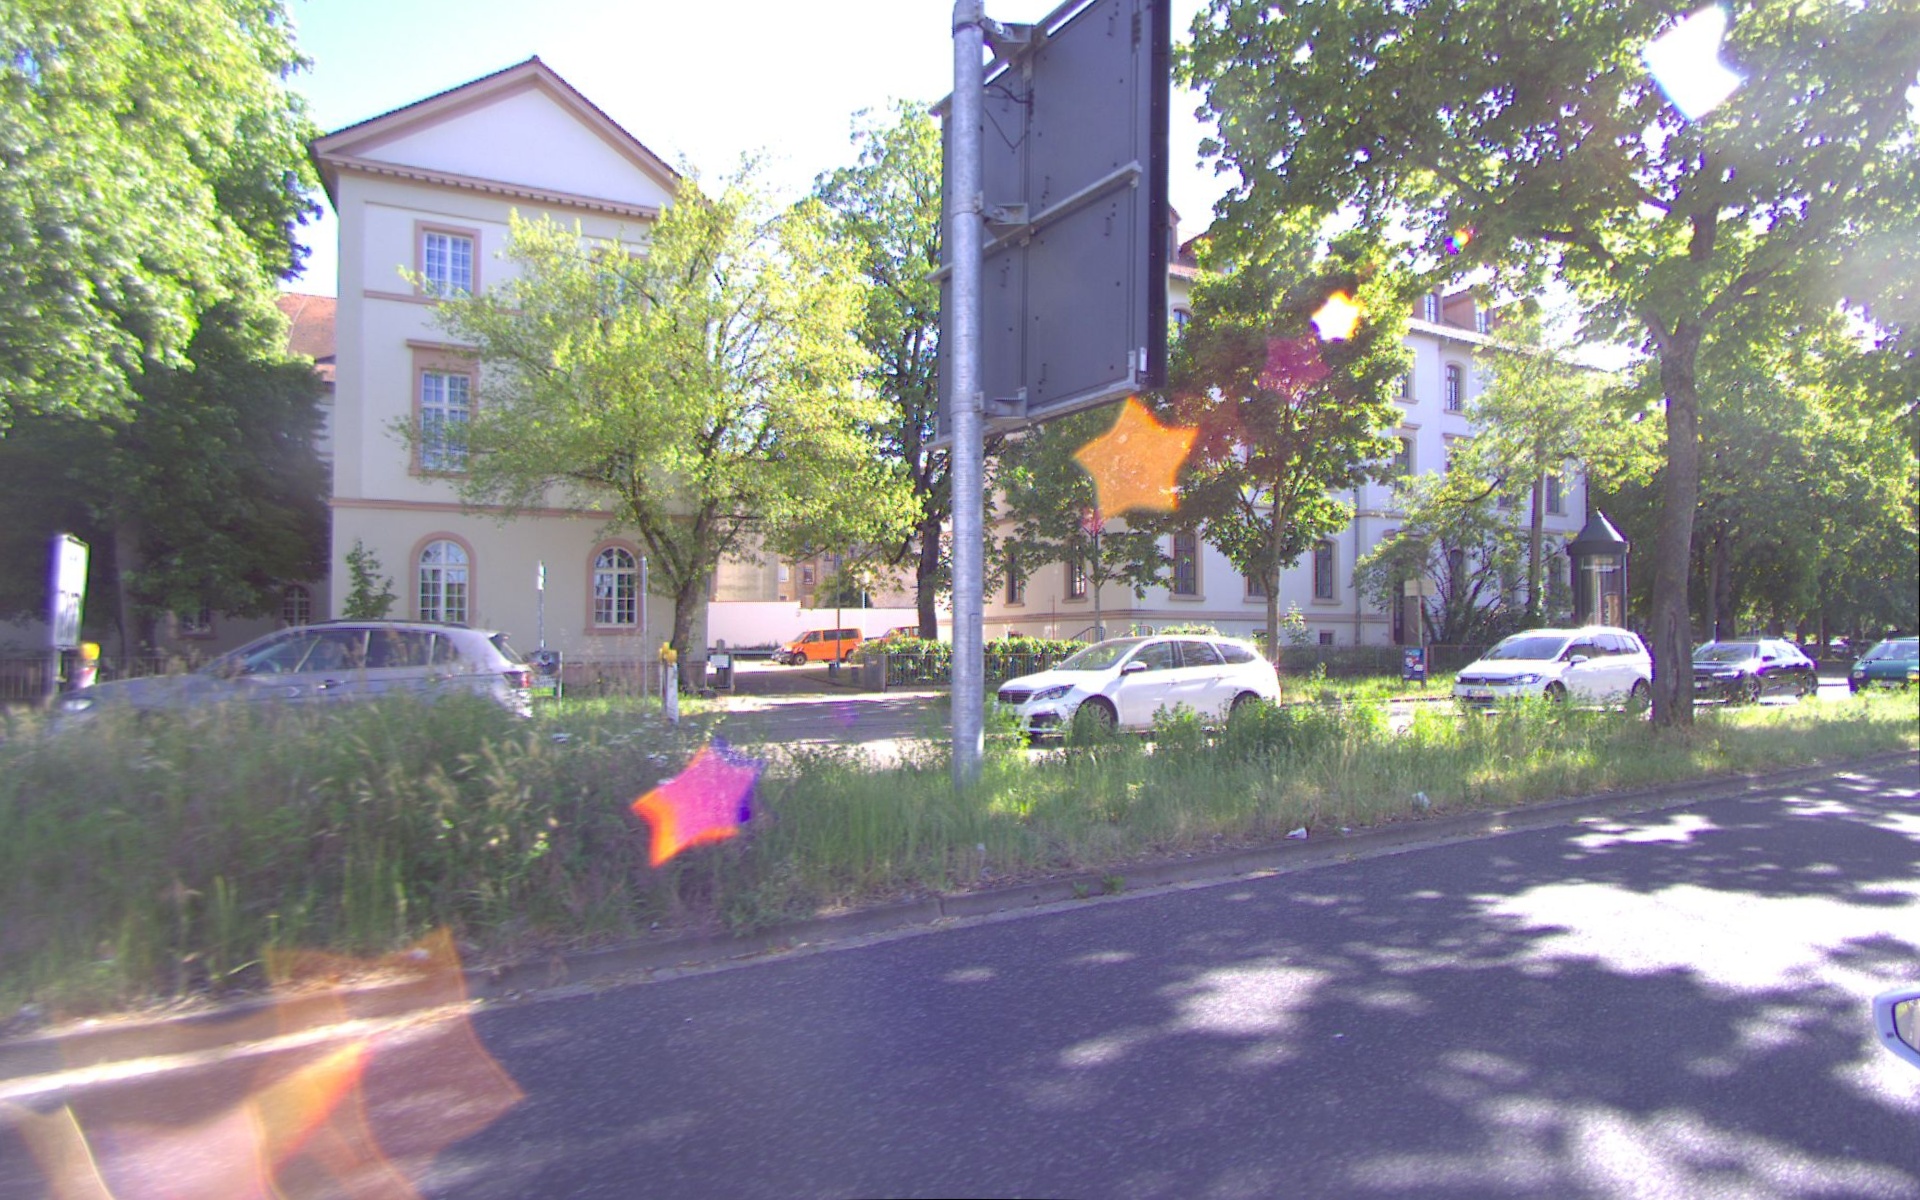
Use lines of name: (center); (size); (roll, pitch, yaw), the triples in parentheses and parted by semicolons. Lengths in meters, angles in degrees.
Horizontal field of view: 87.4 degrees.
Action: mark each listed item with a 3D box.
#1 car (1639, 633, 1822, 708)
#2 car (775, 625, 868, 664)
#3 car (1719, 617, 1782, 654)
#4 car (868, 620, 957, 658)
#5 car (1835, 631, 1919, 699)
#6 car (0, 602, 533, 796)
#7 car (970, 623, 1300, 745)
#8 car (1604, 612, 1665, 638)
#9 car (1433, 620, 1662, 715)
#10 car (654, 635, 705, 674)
car: (17.229, 1.578, 22.442); (4.038, 1.538, 1.788); (2, -4, -29)
car: (-7.748, 2.469, 56.133); (4.726, 1.982, 1.988); (-1, -1, -25)
car: (57.684, 2.613, 73.300); (4.926, 2.354, 1.838); (5, -3, -29)
car: (-2.748, 2.267, 58.371); (4.726, 1.982, 1.988); (-1, -1, -25)
car: (23.317, 1.541, 24.595); (4.209, 1.539, 1.630); (1, -2, -31)
car: (-6.526, 0.883, 9.694); (4.208, 1.539, 1.787); (3, -2, -30)
car: (2.602, 1.144, 14.642); (4.609, 1.538, 1.831); (1, -4, -29)
car: (46.217, 1.712, 68.826); (3.952, 1.510, 1.838); (4, -3, -29)
car: (11.374, 1.256, 19.392); (4.485, 1.647, 1.892); (1, -3, -31)
car: (-14.556, 2.771, 51.967); (1.972, 1.817, 3.978); (4, -3, -23)
